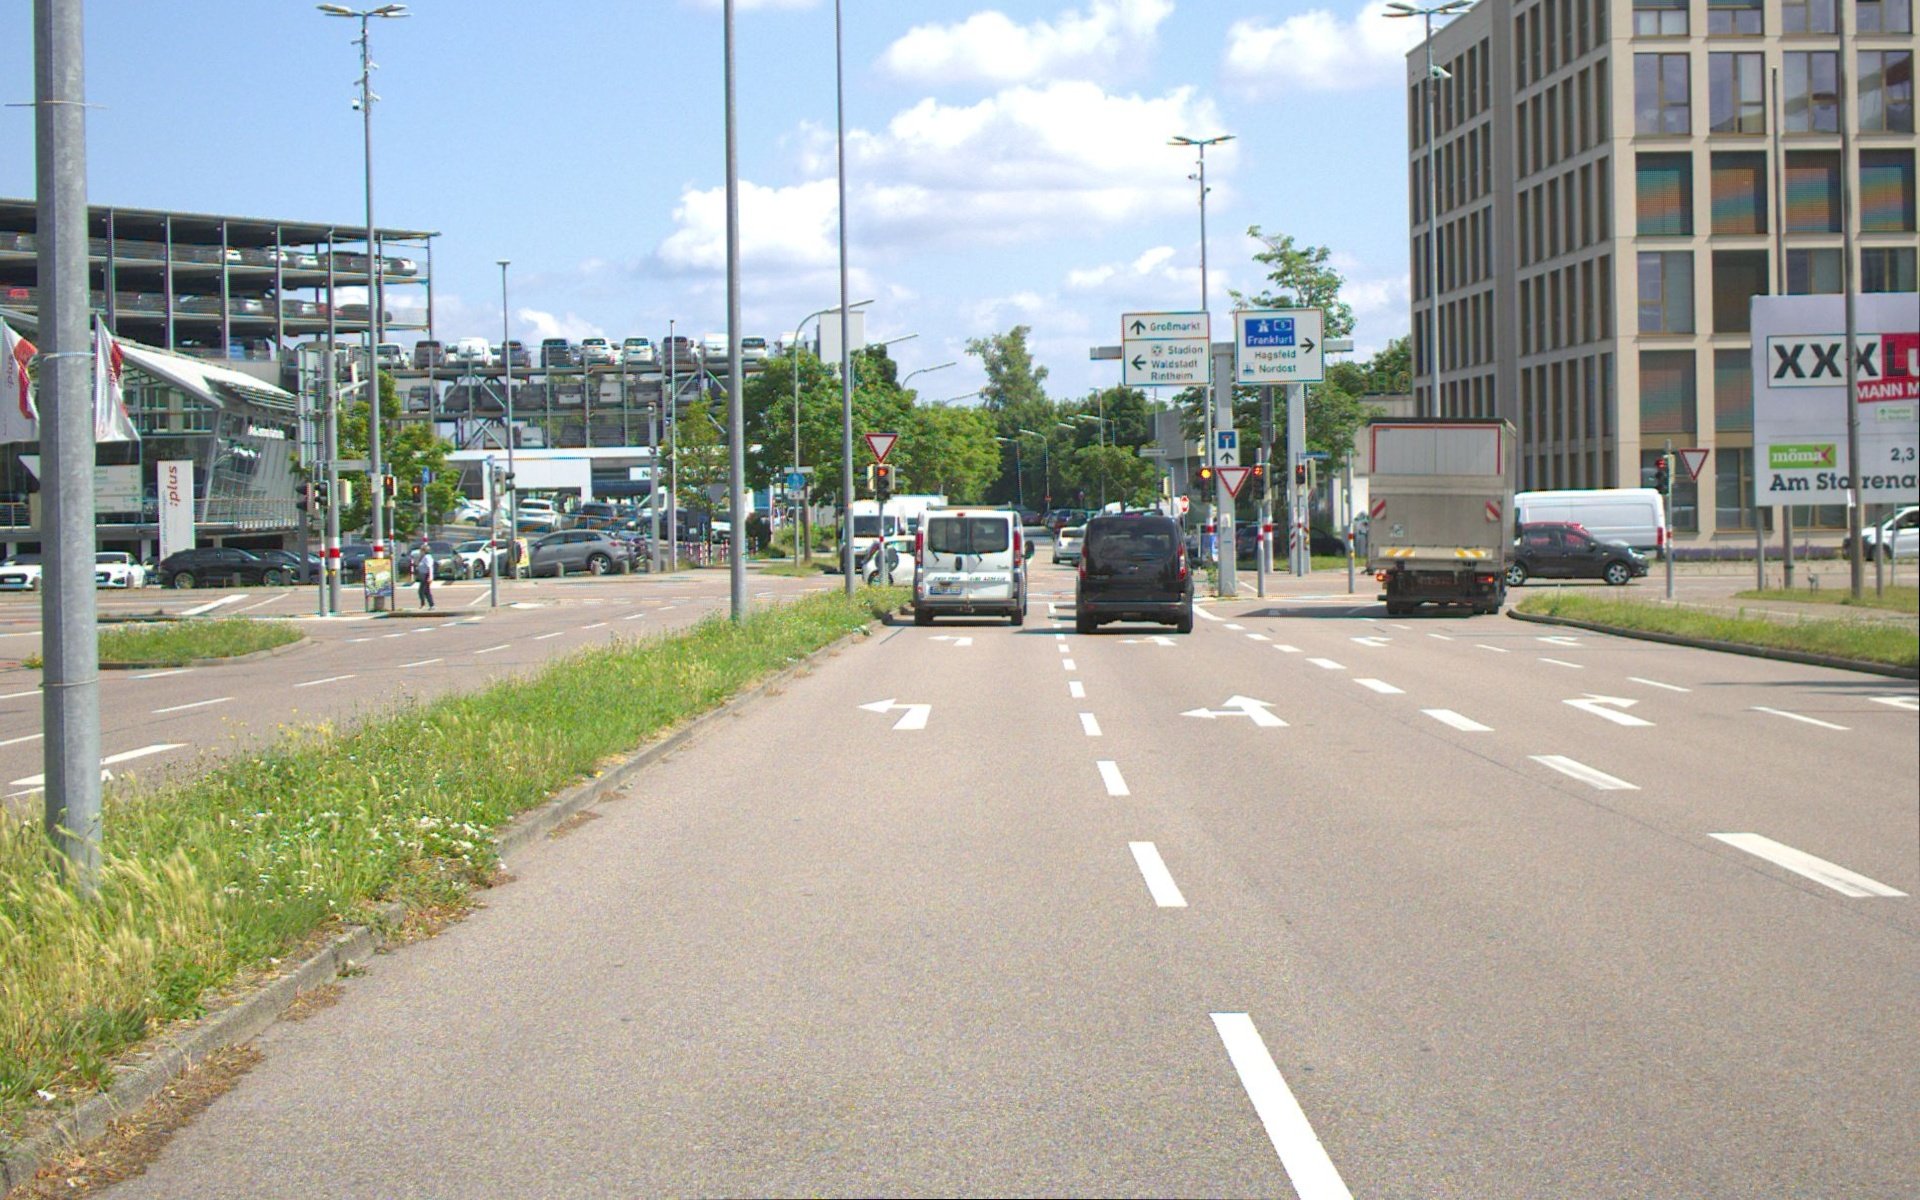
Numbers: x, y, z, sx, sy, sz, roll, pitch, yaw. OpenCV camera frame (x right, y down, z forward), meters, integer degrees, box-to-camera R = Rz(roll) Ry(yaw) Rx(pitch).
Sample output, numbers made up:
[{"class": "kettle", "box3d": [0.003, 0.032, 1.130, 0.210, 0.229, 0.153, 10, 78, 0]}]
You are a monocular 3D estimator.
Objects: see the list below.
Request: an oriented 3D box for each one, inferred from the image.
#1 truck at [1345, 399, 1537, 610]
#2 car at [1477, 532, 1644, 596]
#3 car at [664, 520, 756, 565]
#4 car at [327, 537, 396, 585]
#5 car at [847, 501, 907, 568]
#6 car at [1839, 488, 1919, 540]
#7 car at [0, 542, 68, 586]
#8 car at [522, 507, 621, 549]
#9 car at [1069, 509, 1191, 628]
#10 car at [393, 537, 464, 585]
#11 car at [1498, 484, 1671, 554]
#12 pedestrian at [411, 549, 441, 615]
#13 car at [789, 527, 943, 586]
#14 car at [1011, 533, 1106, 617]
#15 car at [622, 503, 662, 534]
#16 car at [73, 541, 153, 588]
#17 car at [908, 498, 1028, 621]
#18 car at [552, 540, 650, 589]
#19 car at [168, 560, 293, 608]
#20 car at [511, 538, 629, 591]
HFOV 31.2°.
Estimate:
[{"class": "truck", "box3d": [9.701, -1.905, 68.517, 3.131, 3.927, 8.854, 0, 2, 12]}, {"class": "car", "box3d": [15.381, -0.933, 88.237, 4.146, 1.498, 1.626, -2, 2, 8]}, {"class": "car", "box3d": [-10.863, -2.509, 149.322, 3.986, 1.919, 1.827, 0, 1, -5]}, {"class": "car", "box3d": [-19.631, -1.282, 112.612, 1.816, 1.546, 4.001, 0, 1, -16]}, {"class": "car", "box3d": [-2.883, -2.324, 120.695, 1.971, 2.248, 4.981, -2, 2, -1]}, {"class": "car", "box3d": [30.494, -2.720, 108.420, 4.982, 1.602, 2.000, 0, 2, -1]}, {"class": "car", "box3d": [-30.513, -1.179, 112.353, 1.907, 1.371, 3.753, 0, 2, -3]}, {"class": "car", "box3d": [-16.784, -3.113, 148.790, 4.164, 1.707, 1.689, 1, 2, -4]}, {"class": "car", "box3d": [2.736, -0.518, 54.592, 1.820, 1.802, 4.000, 1, 1, 4]}, {"class": "car", "box3d": [-17.501, -1.286, 113.084, 1.816, 1.546, 4.001, 0, 1, -16]}, {"class": "car", "box3d": [20.389, -2.662, 112.239, 5.499, 2.247, 1.999, 0, 2, 10]}, {"class": "pedestrian", "box3d": [-12.284, -0.407, 79.024, 0.470, 1.507, 0.511, 0, 1, 26]}, {"class": "car", "box3d": [-2.418, -1.127, 88.099, 3.850, 1.461, 1.696, 0, 2, -5]}, {"class": "car", "box3d": [1.888, -0.477, 65.723, 1.740, 1.538, 4.000, 1, 1, 2]}, {"class": "car", "box3d": [-15.728, -4.056, 170.115, 1.846, 1.524, 4.001, 0, 2, -3]}, {"class": "car", "box3d": [-27.672, -1.177, 112.449, 1.776, 1.445, 4.030, 0, 2, -3]}, {"class": "car", "box3d": [0.168, -0.734, 59.351, 1.856, 2.011, 4.000, 0, 2, 3]}, {"class": "car", "box3d": [-13.446, -1.347, 128.802, 3.507, 1.707, 1.604, -2, 2, -2]}, {"class": "car", "box3d": [-23.789, -0.519, 112.162, 3.791, 1.508, 1.679, 0, 2, -4]}, {"class": "car", "box3d": [-13.328, -1.217, 117.624, 3.861, 1.634, 1.858, -2, 2, -2]}]
